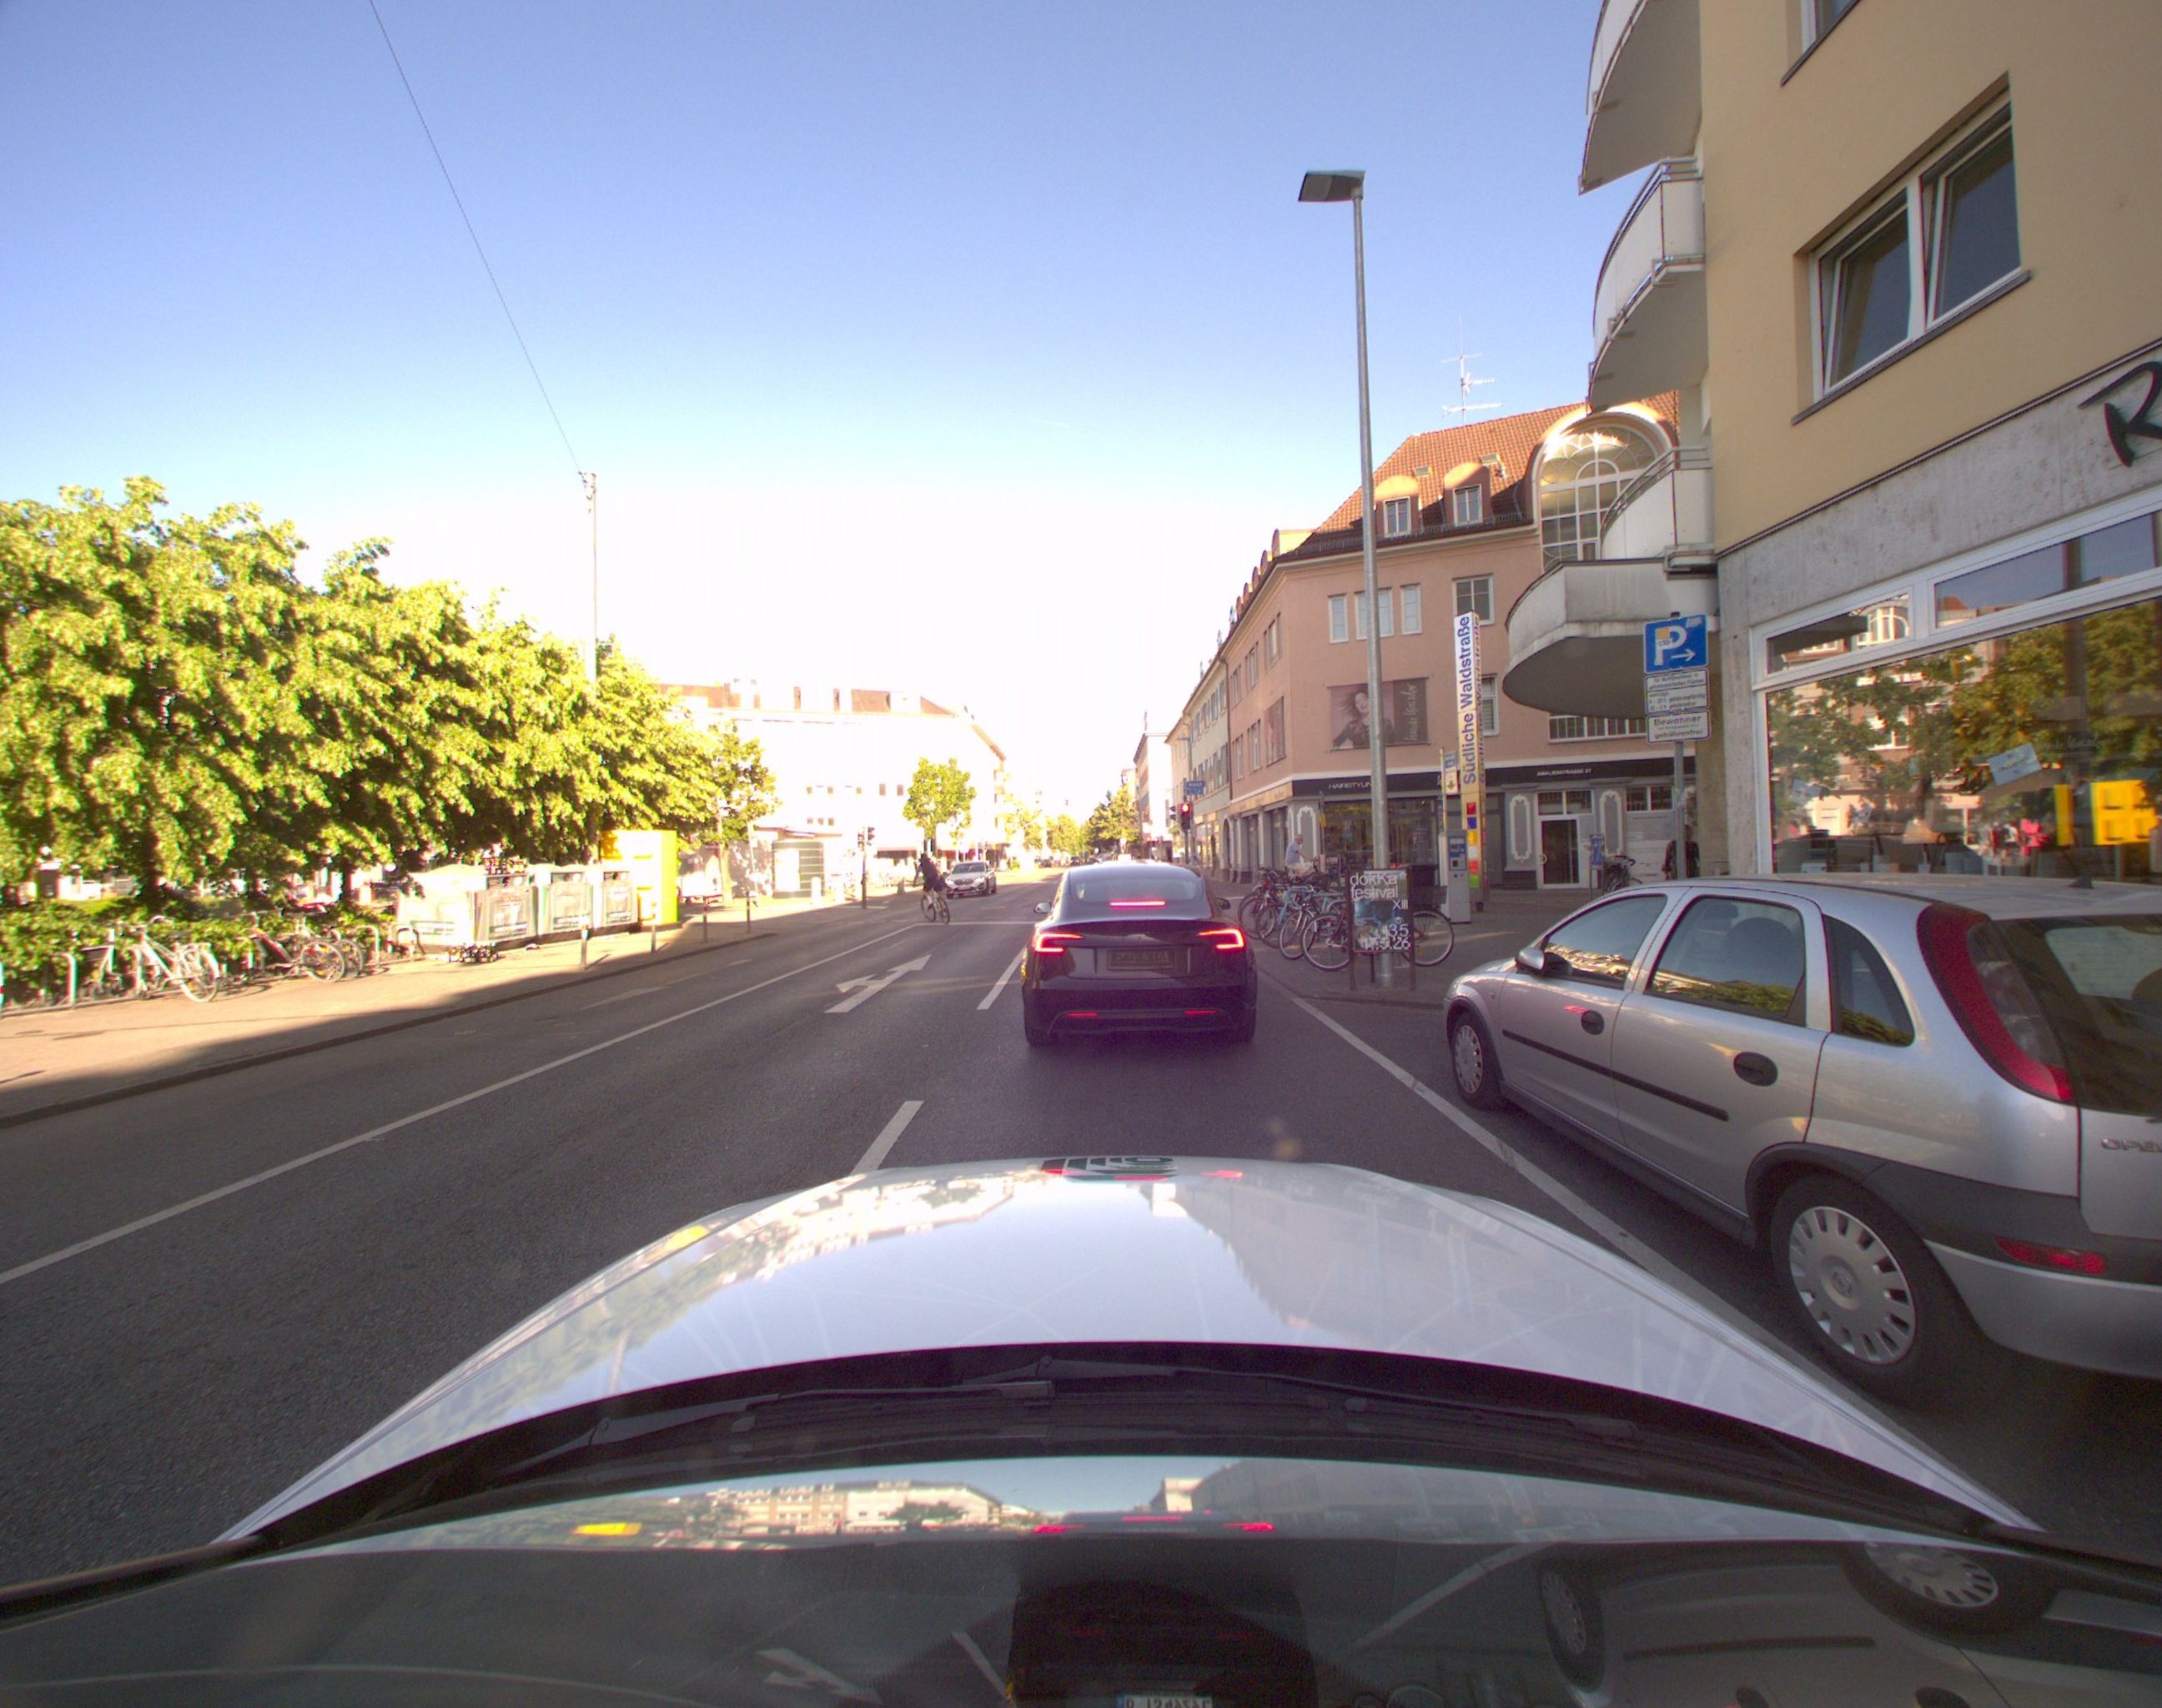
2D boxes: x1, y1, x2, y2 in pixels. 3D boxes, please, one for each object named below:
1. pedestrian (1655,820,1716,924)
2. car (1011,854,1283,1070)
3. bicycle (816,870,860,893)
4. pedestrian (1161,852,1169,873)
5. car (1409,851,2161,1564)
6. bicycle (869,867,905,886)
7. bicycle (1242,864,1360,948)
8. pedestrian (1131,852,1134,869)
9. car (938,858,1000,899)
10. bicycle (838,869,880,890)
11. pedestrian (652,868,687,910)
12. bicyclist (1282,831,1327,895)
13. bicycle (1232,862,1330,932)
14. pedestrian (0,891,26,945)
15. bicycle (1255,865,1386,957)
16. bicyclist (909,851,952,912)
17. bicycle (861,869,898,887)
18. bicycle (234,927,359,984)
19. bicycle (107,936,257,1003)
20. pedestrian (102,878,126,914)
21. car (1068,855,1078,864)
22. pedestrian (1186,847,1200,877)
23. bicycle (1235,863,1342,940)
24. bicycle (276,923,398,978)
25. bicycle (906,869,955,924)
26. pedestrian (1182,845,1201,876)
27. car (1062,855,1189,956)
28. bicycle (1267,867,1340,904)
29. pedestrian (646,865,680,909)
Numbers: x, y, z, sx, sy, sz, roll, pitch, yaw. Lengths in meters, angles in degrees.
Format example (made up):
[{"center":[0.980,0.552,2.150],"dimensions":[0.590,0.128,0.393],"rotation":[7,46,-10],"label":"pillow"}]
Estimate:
[{"center":[9.796,0.287,13.199],"dimensions":[0.655,1.633,0.632],"rotation":[-5,-1,40],"label":"pedestrian"},{"center":[0.541,0.748,7.505],"dimensions":[1.842,1.455,3.788],"rotation":[-1,0,3],"label":"car"},{"center":[-12.849,1.450,43.132],"dimensions":[2.075,1.104,0.806],"rotation":[-1,0,1],"label":"bicycle"},{"center":[6.804,0.650,65.740],"dimensions":[0.568,1.691,0.387],"rotation":[-1,0,1],"label":"pedestrian"},{"center":[2.953,0.704,3.546],"dimensions":[1.615,1.394,3.888],"rotation":[-1,0,3],"label":"car"},{"center":[-12.522,1.452,52.619],"dimensions":[2.075,1.104,0.806],"rotation":[-1,0,1],"label":"bicycle"},{"center":[3.338,0.782,12.427],"dimensions":[1.622,1.160,0.433],"rotation":[-3,0,0],"label":"bicycle"},{"center":[6.020,0.737,95.366],"dimensions":[0.383,2.013,0.297],"rotation":[-1,0,1],"label":"pedestrian"},{"center":[-4.952,1.041,36.431],"dimensions":[1.986,1.541,4.002],"rotation":[-5,0,2],"label":"car"},{"center":[-12.432,1.441,45.644],"dimensions":[2.075,1.104,0.806],"rotation":[-1,0,1],"label":"bicycle"},{"center":[-16.520,1.383,32.684],"dimensions":[0.981,1.636,0.738],"rotation":[-1,0,5],"label":"pedestrian"},{"center":[5.963,0.241,21.772],"dimensions":[1.112,1.654,0.631],"rotation":[-1,0,12],"label":"bicyclist"},{"center":[3.621,0.768,14.799],"dimensions":[1.621,1.160,0.433],"rotation":[-3,0,2],"label":"bicycle"},{"center":[-41.595,2.465,31.543],"dimensions":[0.577,2.014,0.682],"rotation":[-1,-1,9],"label":"pedestrian"},{"center":[3.287,0.774,11.242],"dimensions":[1.622,1.160,0.433],"rotation":[-3,0,0],"label":"bicycle"},{"center":[-3.657,0.654,19.865],"dimensions":[0.793,1.435,1.008],"rotation":[-1,0,1],"label":"bicyclist"},{"center":[-12.479,1.481,50.423],"dimensions":[2.075,1.104,0.806],"rotation":[-1,0,1],"label":"bicycle"},{"center":[-11.322,1.465,11.766],"dimensions":[1.465,0.769,0.442],"rotation":[-1,-1,6],"label":"bicycle"},{"center":[-11.438,1.456,10.365],"dimensions":[1.645,0.769,0.476],"rotation":[-1,-1,10],"label":"bicycle"},{"center":[-49.459,2.135,41.658],"dimensions":[0.576,1.792,0.604],"rotation":[-1,-1,19],"label":"pedestrian"},{"center":[-1.493,1.050,151.497],"dimensions":[1.824,1.724,4.000],"rotation":[-1,0,0],"label":"car"},{"center":[6.699,0.473,48.771],"dimensions":[0.701,1.783,0.534],"rotation":[-1,0,1],"label":"pedestrian"},{"center":[3.445,0.779,13.570],"dimensions":[1.622,1.160,0.433],"rotation":[-3,0,0],"label":"bicycle"},{"center":[-11.251,1.460,12.324],"dimensions":[1.466,0.769,0.475],"rotation":[-1,-1,4],"label":"bicycle"},{"center":[-3.649,0.997,19.864],"dimensions":[0.793,1.233,1.774],"rotation":[-1,0,2],"label":"bicycle"},{"center":[6.614,0.385,48.792],"dimensions":[0.995,1.850,0.615],"rotation":[-1,0,1],"label":"pedestrian"},{"center":[0.747,0.764,13.932],"dimensions":[1.842,1.455,3.788],"rotation":[-1,0,3],"label":"car"},{"center":[5.931,0.829,21.772],"dimensions":[1.850,0.946,0.631],"rotation":[0,0,12],"label":"bicycle"},{"center":[-16.654,1.295,32.447],"dimensions":[0.897,1.725,0.745],"rotation":[-1,0,5],"label":"pedestrian"}]
